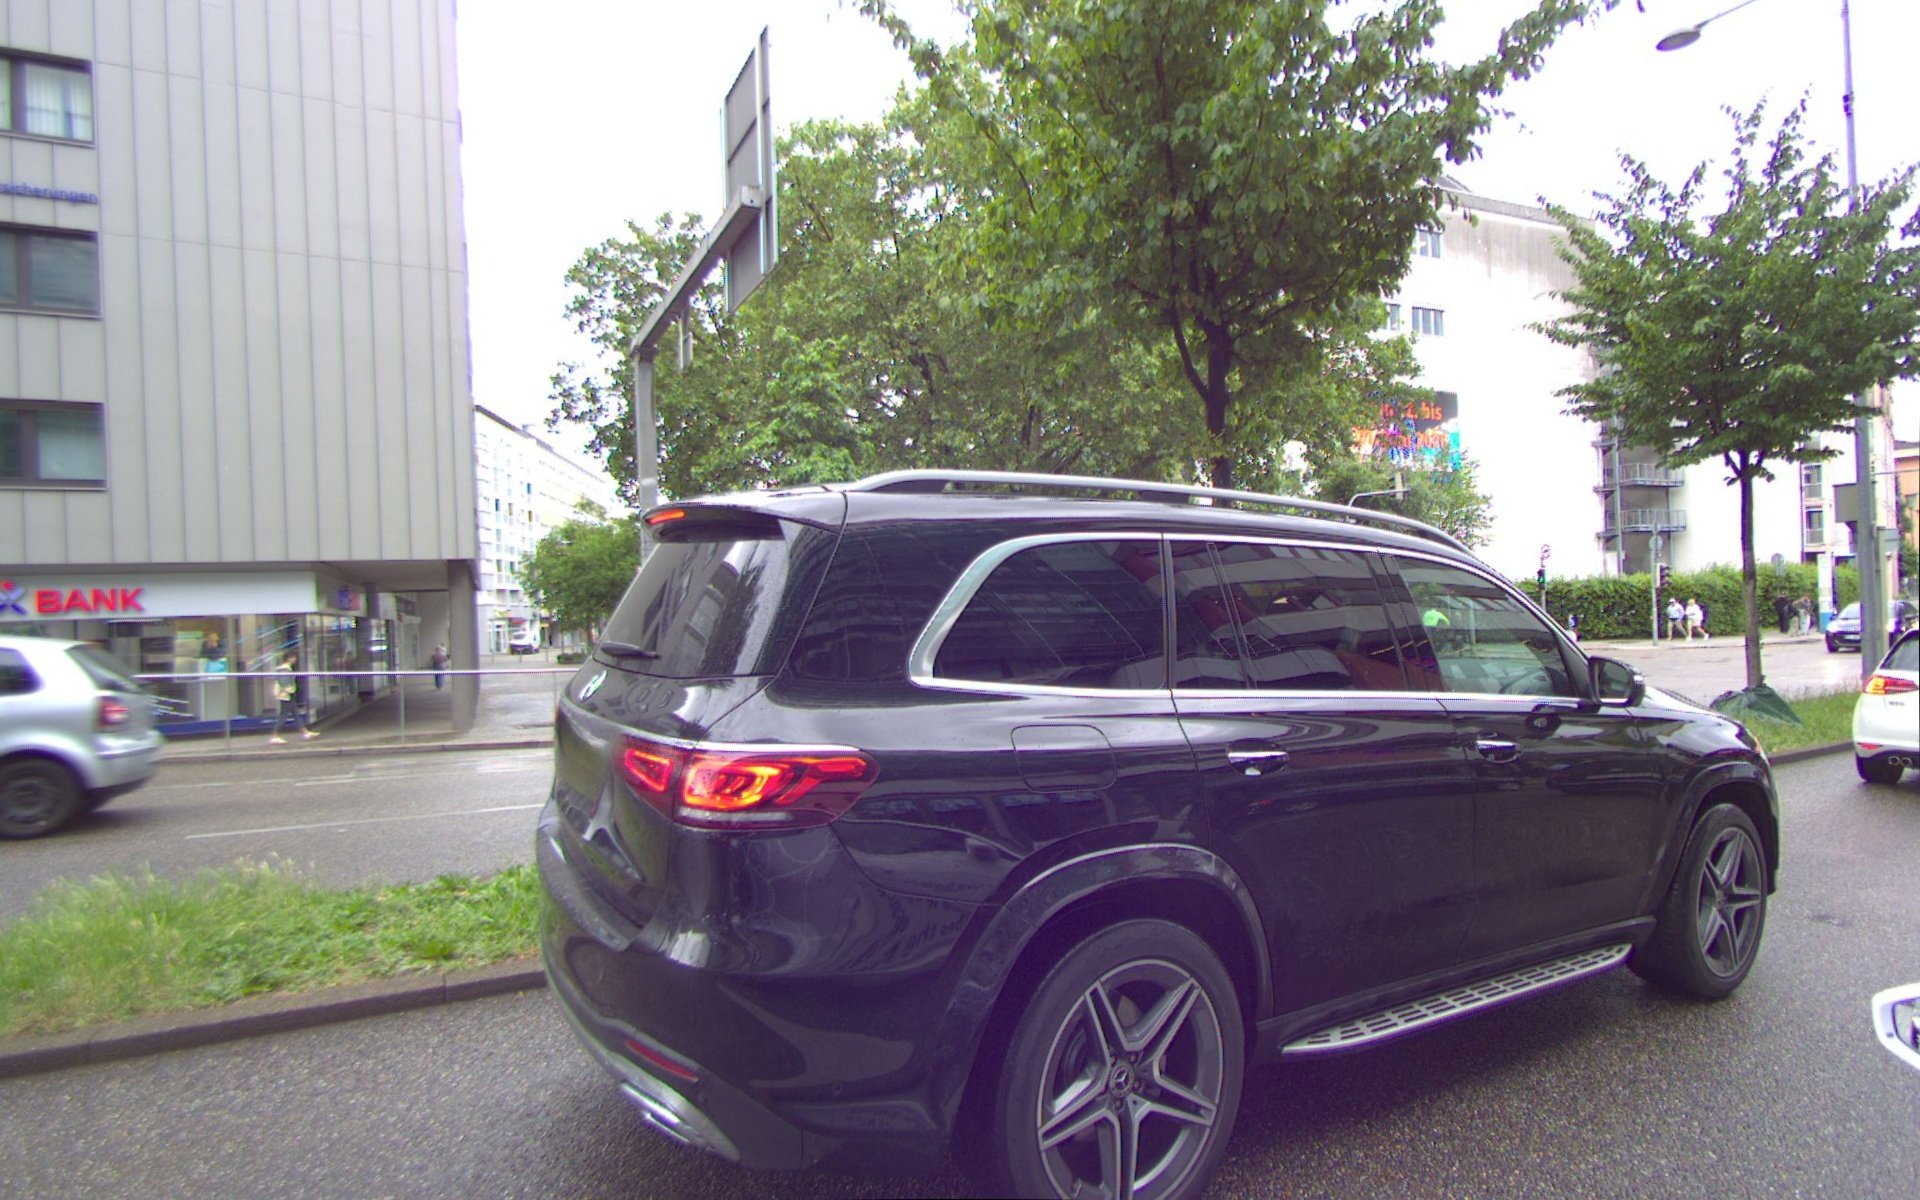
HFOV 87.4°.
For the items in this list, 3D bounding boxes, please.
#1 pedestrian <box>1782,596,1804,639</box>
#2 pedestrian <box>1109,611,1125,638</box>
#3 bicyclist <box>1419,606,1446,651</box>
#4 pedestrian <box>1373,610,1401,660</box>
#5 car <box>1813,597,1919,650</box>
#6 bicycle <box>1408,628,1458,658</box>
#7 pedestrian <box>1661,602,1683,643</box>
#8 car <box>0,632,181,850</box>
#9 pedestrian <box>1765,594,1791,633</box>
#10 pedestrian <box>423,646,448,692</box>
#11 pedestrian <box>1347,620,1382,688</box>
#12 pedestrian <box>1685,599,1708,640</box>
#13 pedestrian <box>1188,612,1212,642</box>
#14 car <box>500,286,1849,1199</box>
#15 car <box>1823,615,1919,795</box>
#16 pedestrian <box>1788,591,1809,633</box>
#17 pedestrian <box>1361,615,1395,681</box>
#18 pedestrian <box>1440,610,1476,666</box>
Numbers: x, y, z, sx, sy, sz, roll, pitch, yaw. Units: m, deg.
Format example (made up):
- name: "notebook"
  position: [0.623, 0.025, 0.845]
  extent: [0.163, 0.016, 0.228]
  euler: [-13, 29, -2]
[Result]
- name: "pedestrian"
  position: [34.918, 0.722, 42.121]
  extent: [0.741, 1.771, 0.535]
  euler: [2, -1, -38]
- name: "pedestrian"
  position: [9.862, 1.560, 62.981]
  extent: [0.723, 1.664, 0.635]
  euler: [2, 0, -23]
- name: "bicyclist"
  position: [16.510, 1.012, 35.087]
  extent: [0.602, 1.550, 0.629]
  euler: [2, -3, -30]
- name: "pedestrian"
  position: [14.851, 1.207, 34.944]
  extent: [0.572, 1.689, 0.636]
  euler: [-2, 0, -30]
- name: "car"
  position: [27.869, 0.680, 30.873]
  extent: [3.571, 1.506, 1.565]
  euler: [0, 1, -33]
- name: "bicycle"
  position: [16.523, 1.515, 35.082]
  extent: [1.918, 1.013, 0.612]
  euler: [2, -3, -31]
- name: "pedestrian"
  position: [28.957, 0.923, 40.837]
  extent: [0.522, 1.620, 0.576]
  euler: [2, -1, -36]
- name: "car"
  position: [-7.952, 0.940, 7.012]
  extent: [3.712, 1.487, 1.625]
  euler: [4, -5, -32]
- name: "pedestrian"
  position: [36.114, 0.588, 44.340]
  extent: [0.724, 1.664, 0.635]
  euler: [2, -1, -27]
- name: "pedestrian"
  position: [-20.107, 2.635, 38.515]
  extent: [0.719, 1.719, 0.782]
  euler: [2, -3, -37]
- name: "pedestrian"
  position: [10.200, 1.345, 25.354]
  extent: [0.572, 1.684, 0.554]
  euler: [-2, 0, -30]
- name: "pedestrian"
  position: [29.495, 0.794, 40.220]
  extent: [0.522, 1.620, 0.576]
  euler: [2, -1, -36]
- name: "pedestrian"
  position: [13.230, 1.476, 55.362]
  extent: [0.677, 1.599, 1.055]
  euler: [2, -1, -34]
- name: "car"
  position: [1.145, 0.519, 3.781]
  extent: [5.016, 1.895, 1.901]
  euler: [3, -1, -31]
- name: "car"
  position: [9.545, 0.876, 8.962]
  extent: [3.799, 1.448, 1.768]
  euler: [0, 0, -32]
- name: "pedestrian"
  position: [36.061, 0.527, 43.203]
  extent: [0.559, 1.771, 0.535]
  euler: [2, -1, -35]
- name: "pedestrian"
  position: [10.980, 1.252, 26.367]
  extent: [0.572, 1.684, 0.554]
  euler: [-2, 0, -30]
- name: "pedestrian"
  position: [15.552, 1.173, 31.378]
  extent: [0.620, 1.684, 0.749]
  euler: [-2, 0, -30]
